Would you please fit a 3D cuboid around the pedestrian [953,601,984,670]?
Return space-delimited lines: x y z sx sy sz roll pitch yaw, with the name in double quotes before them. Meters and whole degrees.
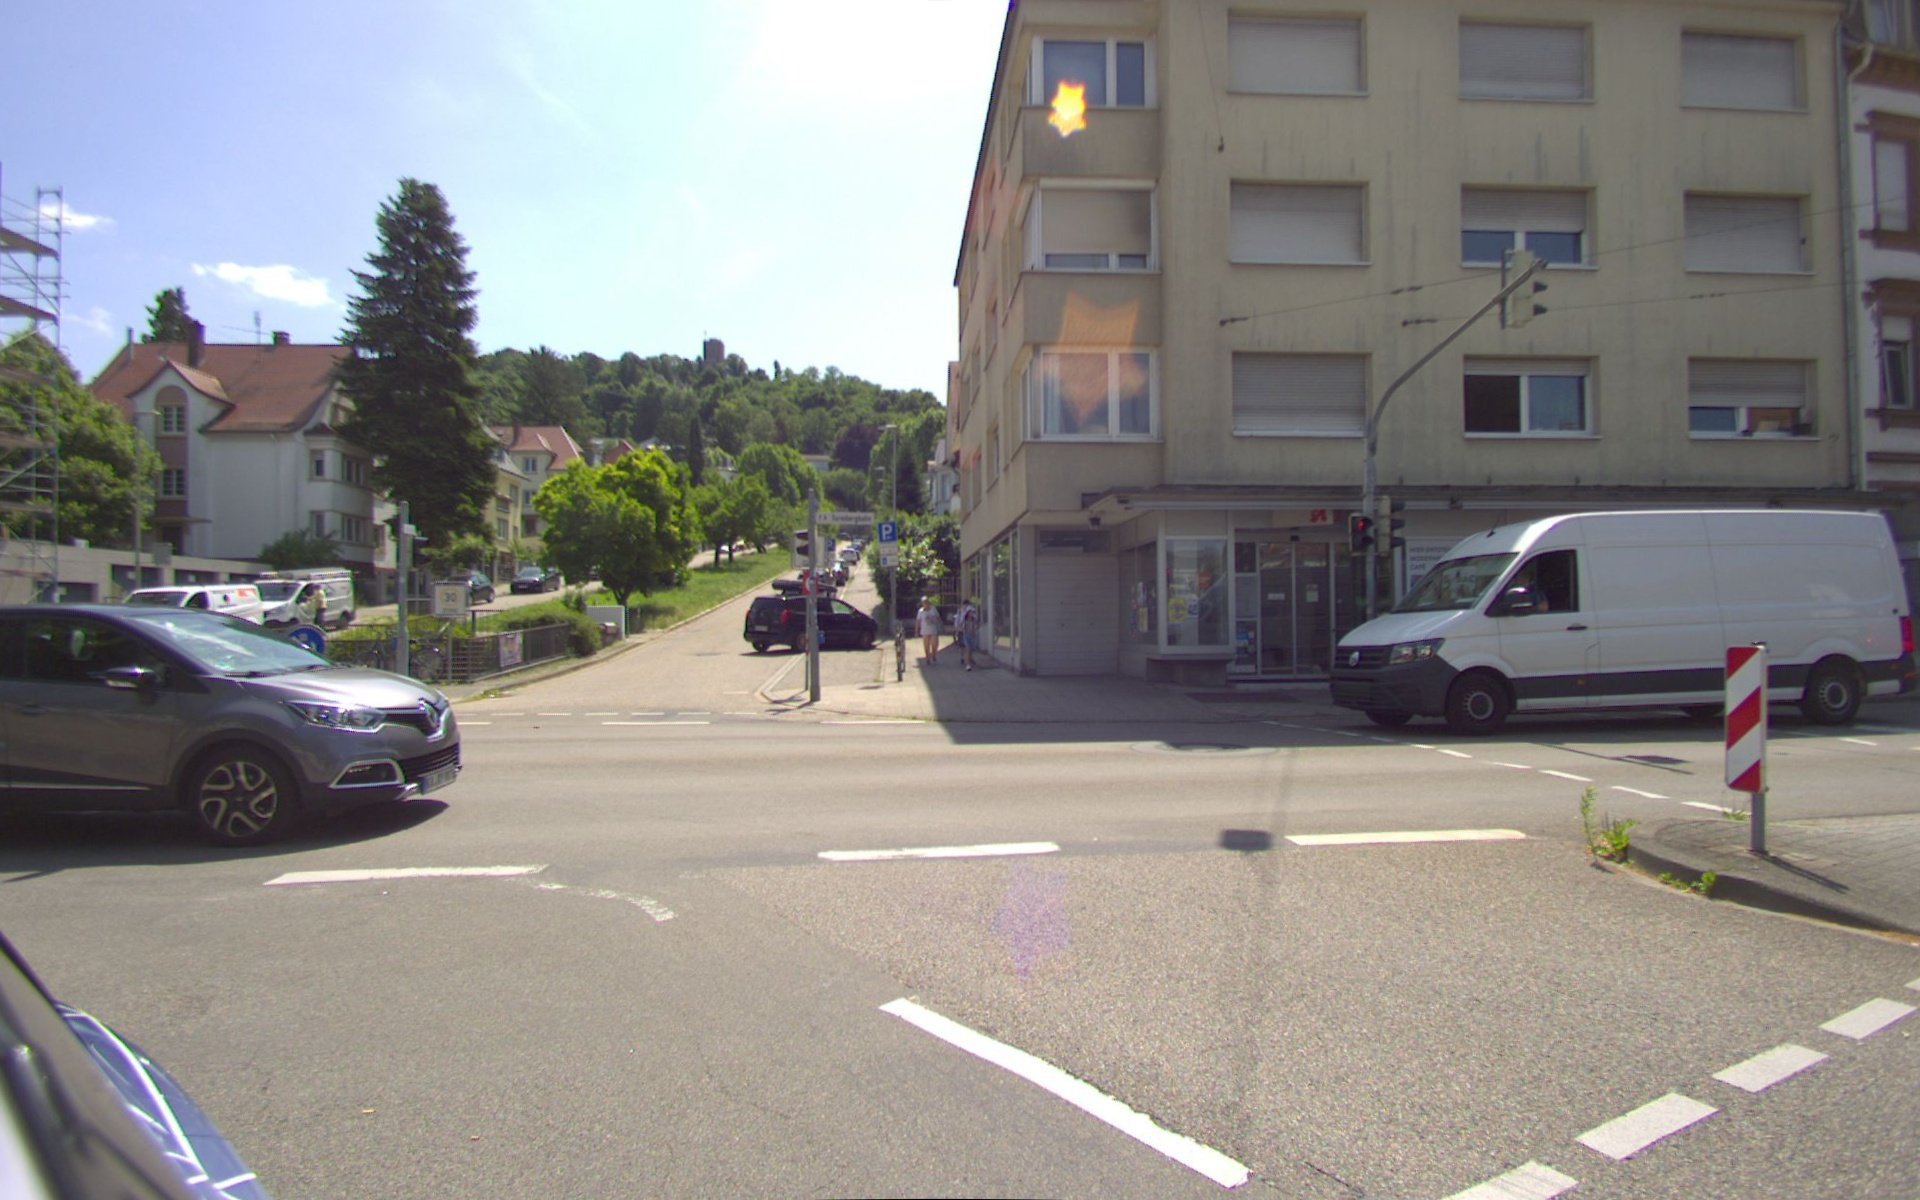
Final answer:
"pedestrian" 0.192 0.783 22.553 0.639 1.487 0.688 -1 -1 -1

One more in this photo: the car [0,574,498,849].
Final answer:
"car" -5.605 0.694 7.083 3.941 1.644 1.761 -1 0 -2

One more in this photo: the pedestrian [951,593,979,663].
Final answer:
"pedestrian" 0.110 0.666 24.232 0.639 1.645 0.688 -1 -1 -1

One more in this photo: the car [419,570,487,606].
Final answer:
"car" -23.857 -0.597 47.783 1.730 1.458 3.747 -1 4 -8

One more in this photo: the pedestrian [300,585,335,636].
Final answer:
"pedestrian" -22.059 0.355 34.767 0.733 1.727 0.712 -1 -1 1

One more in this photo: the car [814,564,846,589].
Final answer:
"car" -8.239 -1.522 64.518 1.830 1.431 4.006 -1 3 -5

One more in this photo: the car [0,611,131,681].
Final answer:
"car" -21.988 1.057 24.048 1.731 1.458 3.744 -1 1 -5

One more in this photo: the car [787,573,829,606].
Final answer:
"car" -7.387 -0.563 49.403 1.782 1.397 4.006 -1 3 -5

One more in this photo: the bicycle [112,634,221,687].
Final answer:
"bicycle" -15.219 1.154 19.430 1.692 0.974 0.399 -1 0 -6

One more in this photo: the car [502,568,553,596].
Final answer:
"car" -24.636 -1.056 57.758 1.730 1.458 3.747 -1 4 -8

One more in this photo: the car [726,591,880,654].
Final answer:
"car" -4.467 0.620 29.389 1.996 1.676 4.277 -1 -1 36

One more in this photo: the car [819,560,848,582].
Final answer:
"car" -8.758 -2.028 70.421 1.830 1.431 4.006 -1 3 -5

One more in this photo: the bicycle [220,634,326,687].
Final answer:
"bicycle" -13.317 1.169 19.644 1.719 0.974 0.399 -1 0 -6

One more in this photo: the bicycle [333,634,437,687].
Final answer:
"bicycle" -11.235 1.173 19.787 1.756 0.974 0.399 -1 0 -6

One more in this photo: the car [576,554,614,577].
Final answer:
"car" -25.589 -2.459 71.079 1.730 1.458 3.747 -1 4 -8

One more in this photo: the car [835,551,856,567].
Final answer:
"car" -10.975 -3.963 97.153 1.830 1.431 4.006 -1 3 -5

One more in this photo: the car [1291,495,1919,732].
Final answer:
"car" 8.167 0.169 12.383 7.436 2.520 2.226 -1 -4 -6

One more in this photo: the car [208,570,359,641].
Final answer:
"car" -23.414 0.107 35.305 2.044 2.193 5.016 -1 3 -3

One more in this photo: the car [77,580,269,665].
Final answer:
"car" -22.129 0.531 28.769 1.969 2.028 5.021 -1 3 -7

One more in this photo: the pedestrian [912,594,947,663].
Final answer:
"pedestrian" -0.733 0.687 24.595 0.811 1.645 0.804 -1 -1 -1

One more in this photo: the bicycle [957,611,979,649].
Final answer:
"bicycle" 0.225 0.831 28.821 0.491 1.034 1.744 -1 0 -3
